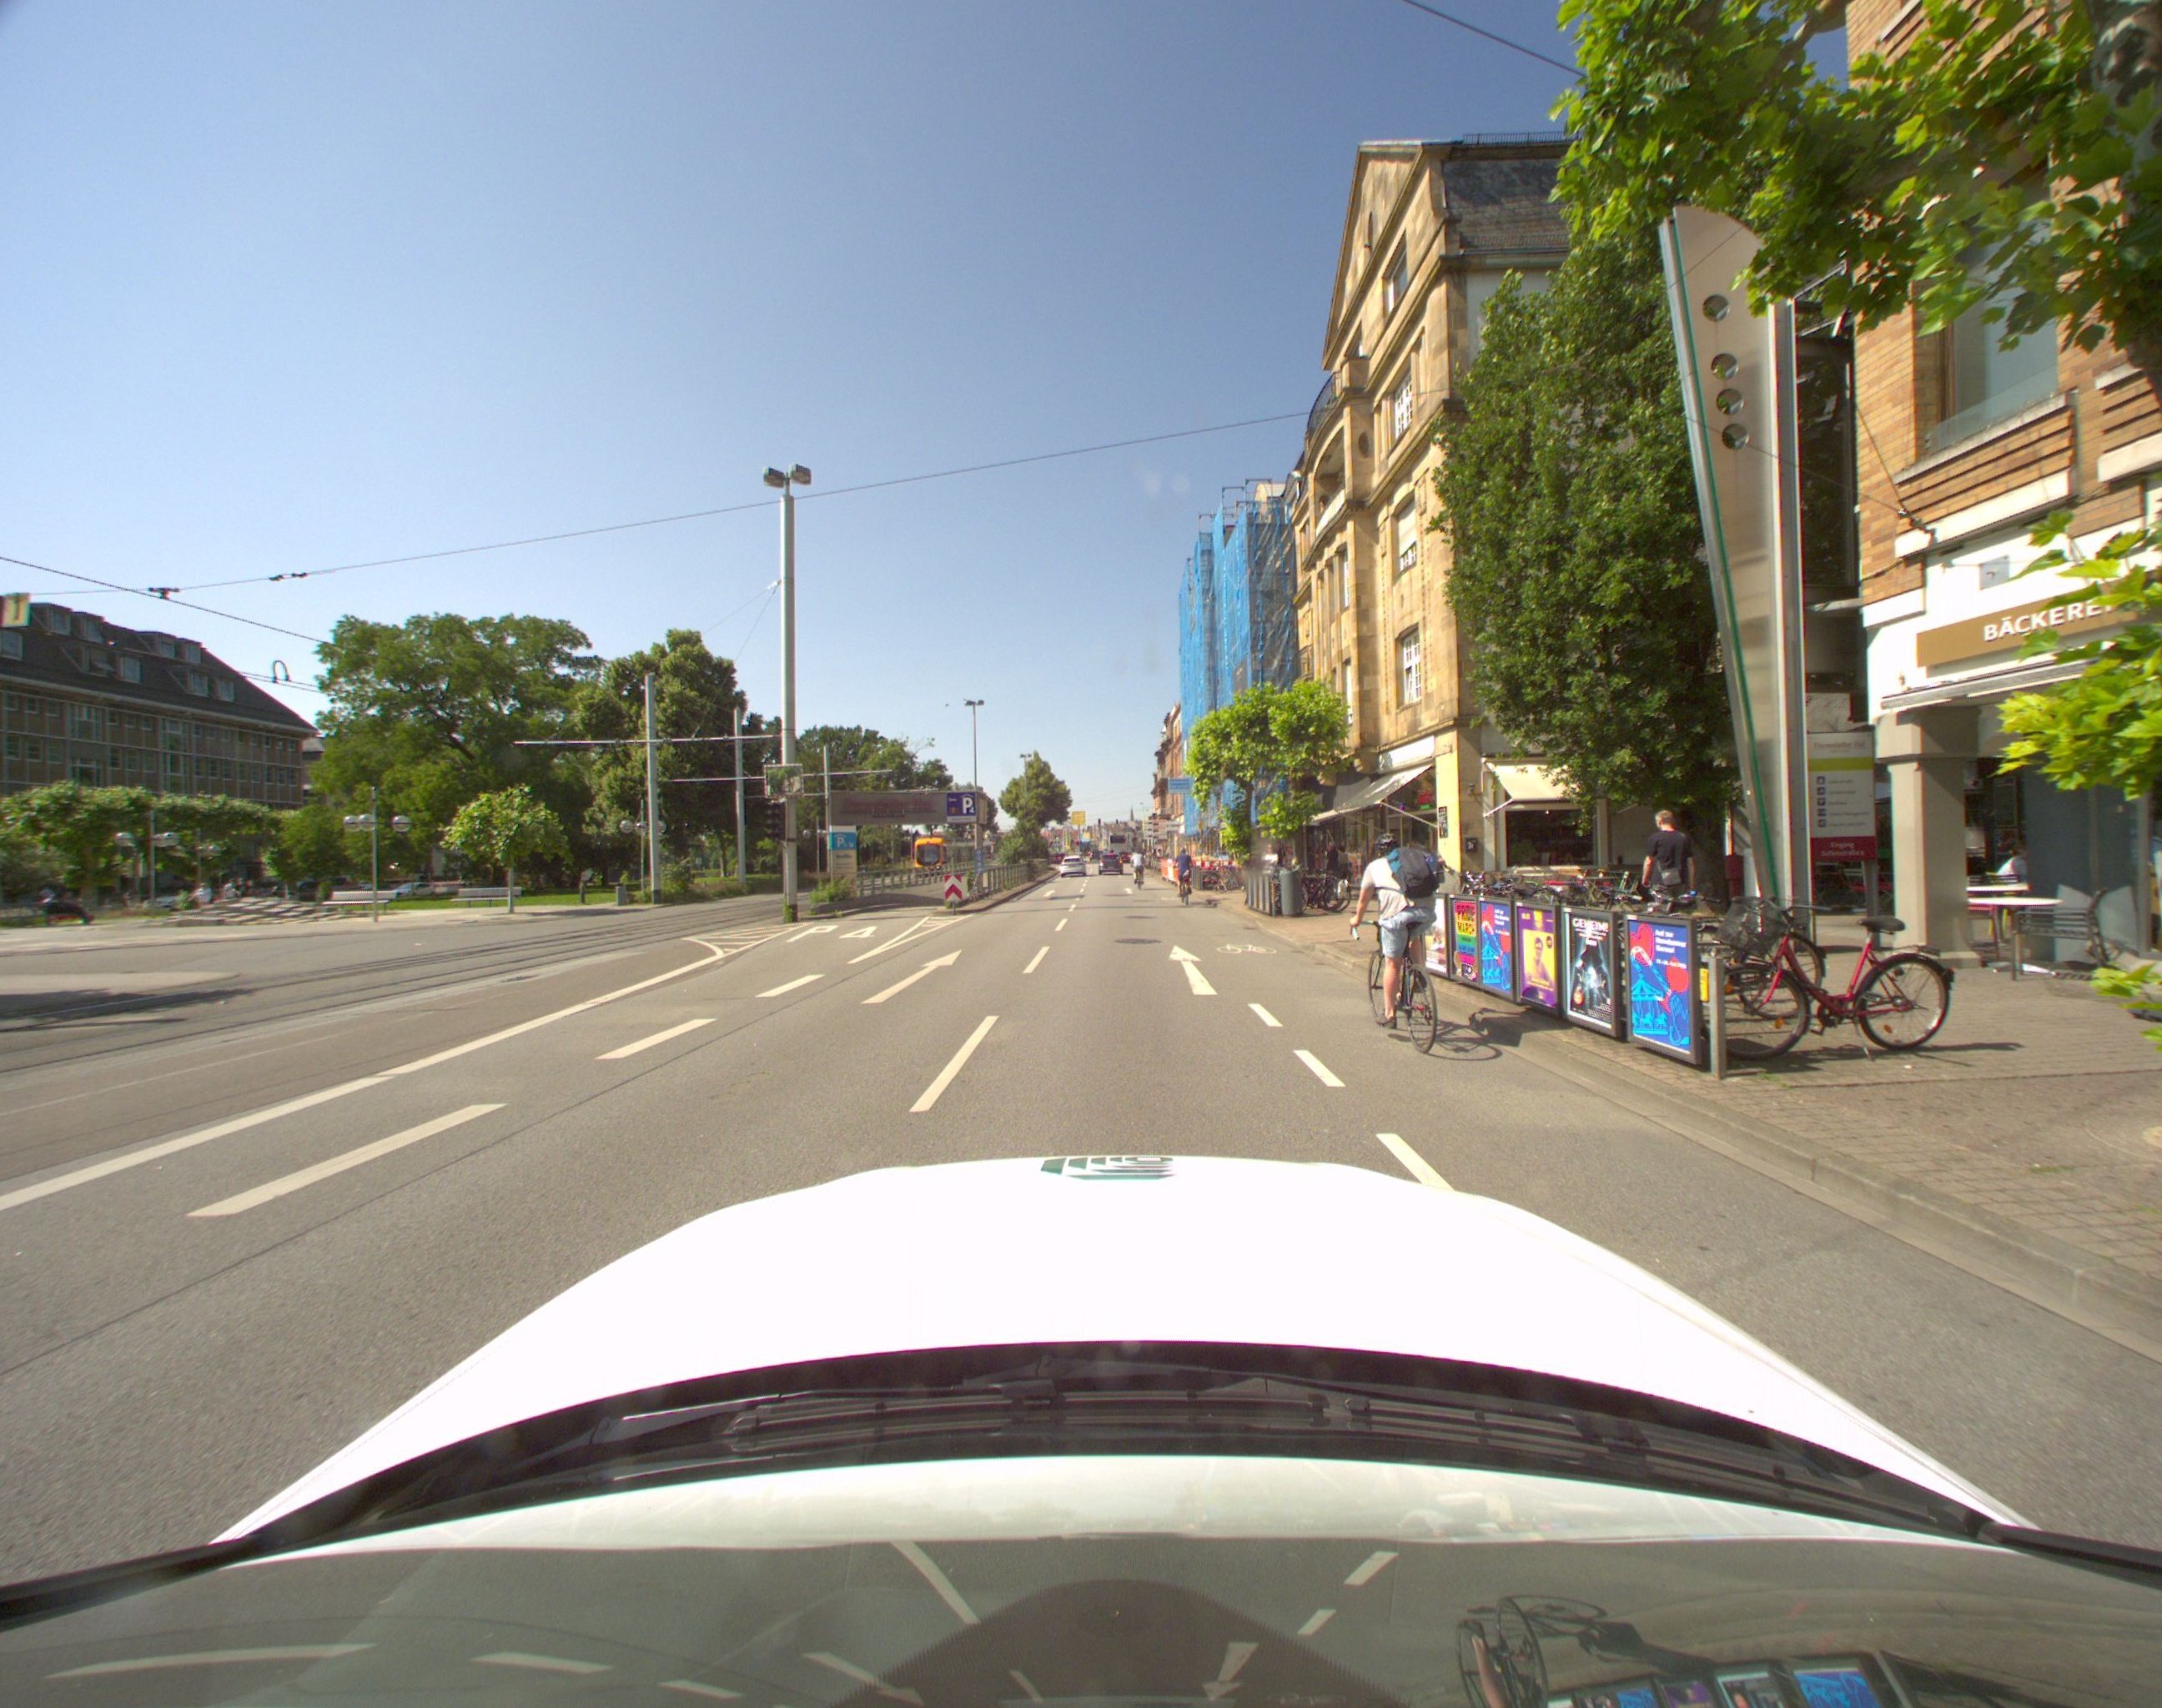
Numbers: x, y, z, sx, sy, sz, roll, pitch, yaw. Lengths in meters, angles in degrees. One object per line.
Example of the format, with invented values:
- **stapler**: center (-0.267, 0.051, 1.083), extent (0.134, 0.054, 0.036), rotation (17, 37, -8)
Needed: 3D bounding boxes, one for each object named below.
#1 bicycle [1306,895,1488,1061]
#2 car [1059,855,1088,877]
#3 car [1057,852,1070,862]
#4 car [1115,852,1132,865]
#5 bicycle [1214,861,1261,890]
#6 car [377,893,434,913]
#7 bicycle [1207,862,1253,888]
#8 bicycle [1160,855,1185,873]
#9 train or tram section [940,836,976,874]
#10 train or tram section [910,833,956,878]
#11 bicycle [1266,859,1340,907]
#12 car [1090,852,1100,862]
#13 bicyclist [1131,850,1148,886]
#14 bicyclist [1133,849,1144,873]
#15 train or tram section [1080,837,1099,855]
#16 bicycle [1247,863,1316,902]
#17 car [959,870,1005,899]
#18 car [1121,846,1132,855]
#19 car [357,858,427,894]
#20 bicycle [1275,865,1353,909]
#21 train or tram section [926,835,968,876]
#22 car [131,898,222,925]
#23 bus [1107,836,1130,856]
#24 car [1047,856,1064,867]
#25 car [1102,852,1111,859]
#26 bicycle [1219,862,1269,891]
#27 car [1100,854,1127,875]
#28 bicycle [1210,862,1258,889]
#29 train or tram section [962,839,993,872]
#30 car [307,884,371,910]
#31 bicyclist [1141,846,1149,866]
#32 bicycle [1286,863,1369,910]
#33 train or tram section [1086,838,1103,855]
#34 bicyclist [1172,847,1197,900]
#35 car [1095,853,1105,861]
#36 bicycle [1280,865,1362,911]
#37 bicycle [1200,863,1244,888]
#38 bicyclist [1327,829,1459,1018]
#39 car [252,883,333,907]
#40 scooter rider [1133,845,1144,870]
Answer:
- **bicycle**: center (2.570, 0.945, 6.922), extent (0.731, 1.093, 2.130), rotation (0, 0, 0)
- **car**: center (-0.519, 0.858, 58.165), extent (1.851, 1.507, 4.003), rotation (0, 0, 3)
- **car**: center (-2.401, 0.442, 110.062), extent (1.446, 1.300, 4.003), rotation (0, 0, 3)
- **car**: center (4.995, 0.495, 96.687), extent (1.985, 1.492, 4.003), rotation (0, 0, 3)
- **bicycle**: center (5.965, 0.809, 30.999), extent (1.758, 1.018, 0.479), rotation (-1, 0, -20)
- **car**: center (-58.903, 4.219, 71.108), extent (1.752, 1.508, 3.994), rotation (0, 0, -4)
- **bicycle**: center (5.950, 0.839, 32.595), extent (1.747, 1.018, 0.483), rotation (-1, 0, -1)
- **bicycle**: center (6.168, 0.687, 54.919), extent (1.687, 1.178, 0.609), rotation (-1, 0, 2)
- **train or tram section**: center (-12.012, 0.138, 79.998), extent (2.604, 3.581, 5.358), rotation (0, 0, 1)
- **train or tram section**: center (-12.292, 0.111, 68.210), extent (2.604, 3.581, 6.105), rotation (0, 0, 1)
- **bicycle**: center (5.733, 0.736, 21.085), extent (1.747, 1.181, 0.579), rotation (-1, 0, -1)
- **car**: center (2.030, 0.424, 117.133), extent (1.446, 1.300, 3.343), rotation (0, 0, 2)
- **bicyclist**: center (2.602, 0.629, 36.448), extent (0.686, 1.577, 1.049), rotation (0, 0, 0)
- **bicyclist**: center (3.772, 0.456, 53.431), extent (0.686, 1.577, 1.049), rotation (0, 0, 0)
- **train or tram section**: center (1.770, -1.582, 169.909), extent (2.807, 3.581, 10.053), rotation (0, 0, 7)
- **bicycle**: center (5.526, 0.782, 22.442), extent (1.737, 1.018, 0.661), rotation (-1, 0, 24)
- **car**: center (-5.745, 1.761, 47.757), extent (1.985, 1.508, 4.003), rotation (0, 0, 3)
- **car**: center (9.726, -0.723, 173.024), extent (1.982, 1.878, 4.009), rotation (-3, 0, 8)
- **car**: center (-67.056, 2.075, 79.363), extent (2.119, 3.316, 5.421), rotation (0, 0, 1)
- **bicycle**: center (5.720, 0.794, 20.033), extent (1.747, 1.018, 0.557), rotation (-1, 0, -1)
- **train or tram section**: center (-12.157, 0.125, 74.298), extent (2.604, 3.581, 6.105), rotation (0, 0, 1)
- **car**: center (-60.315, 3.833, 54.411), extent (1.752, 1.508, 3.994), rotation (0, 0, -4)
- **bus**: center (5.200, -1.070, 113.306), extent (2.959, 2.776, 8.642), rotation (0, 0, 1)
- **car**: center (-3.052, 0.877, 98.879), extent (1.808, 1.332, 4.003), rotation (0, 0, 3)
- **car**: center (4.776, 0.326, 153.143), extent (1.445, 1.300, 3.346), rotation (0, 0, 4)
- **bicycle**: center (6.012, 0.829, 30.128), extent (1.747, 1.018, 0.483), rotation (-1, 0, -1)
- **car**: center (2.377, 0.724, 59.474), extent (1.866, 1.492, 4.003), rotation (0, 0, 3)
- **bicycle**: center (6.003, 0.843, 31.992), extent (1.747, 1.018, 0.483), rotation (-1, 0, -1)
- **train or tram section**: center (-11.715, 0.168, 92.560), extent (2.604, 3.581, 6.019), rotation (0, 0, 1)
- **car**: center (-61.816, 3.546, 67.919), extent (1.986, 2.013, 3.645), rotation (0, 0, 1)
- **bicyclist**: center (6.422, 0.172, 81.812), extent (0.686, 1.962, 0.778), rotation (0, 0, -1)
- **bicycle**: center (5.670, 0.743, 18.783), extent (1.747, 1.018, 0.483), rotation (-1, 0, -1)
- **train or tram section**: center (3.057, -1.558, 178.936), extent (2.807, 3.581, 8.243), rotation (0, 0, 7)
- **bicyclist**: center (3.228, 0.598, 25.464), extent (0.686, 1.616, 0.918), rotation (0, 0, 0)
- **car**: center (2.930, 0.448, 125.964), extent (1.446, 1.300, 3.344), rotation (0, 0, 3)
- **bicycle**: center (5.702, 0.798, 19.394), extent (1.747, 1.018, 0.587), rotation (-2, 0, -1)
- **bicycle**: center (5.857, 0.887, 33.874), extent (1.747, 1.018, 0.483), rotation (-1, 0, -1)
- **bicyclist**: center (2.597, 0.541, 6.895), extent (0.686, 1.463, 1.143), rotation (0, 0, 0)
- **car**: center (-60.398, 3.114, 62.517), extent (1.752, 1.663, 4.837), rotation (0, 0, -4)
- **scooter rider**: center (4.036, 0.256, 57.194), extent (0.686, 1.729, 0.778), rotation (0, 0, -1)
